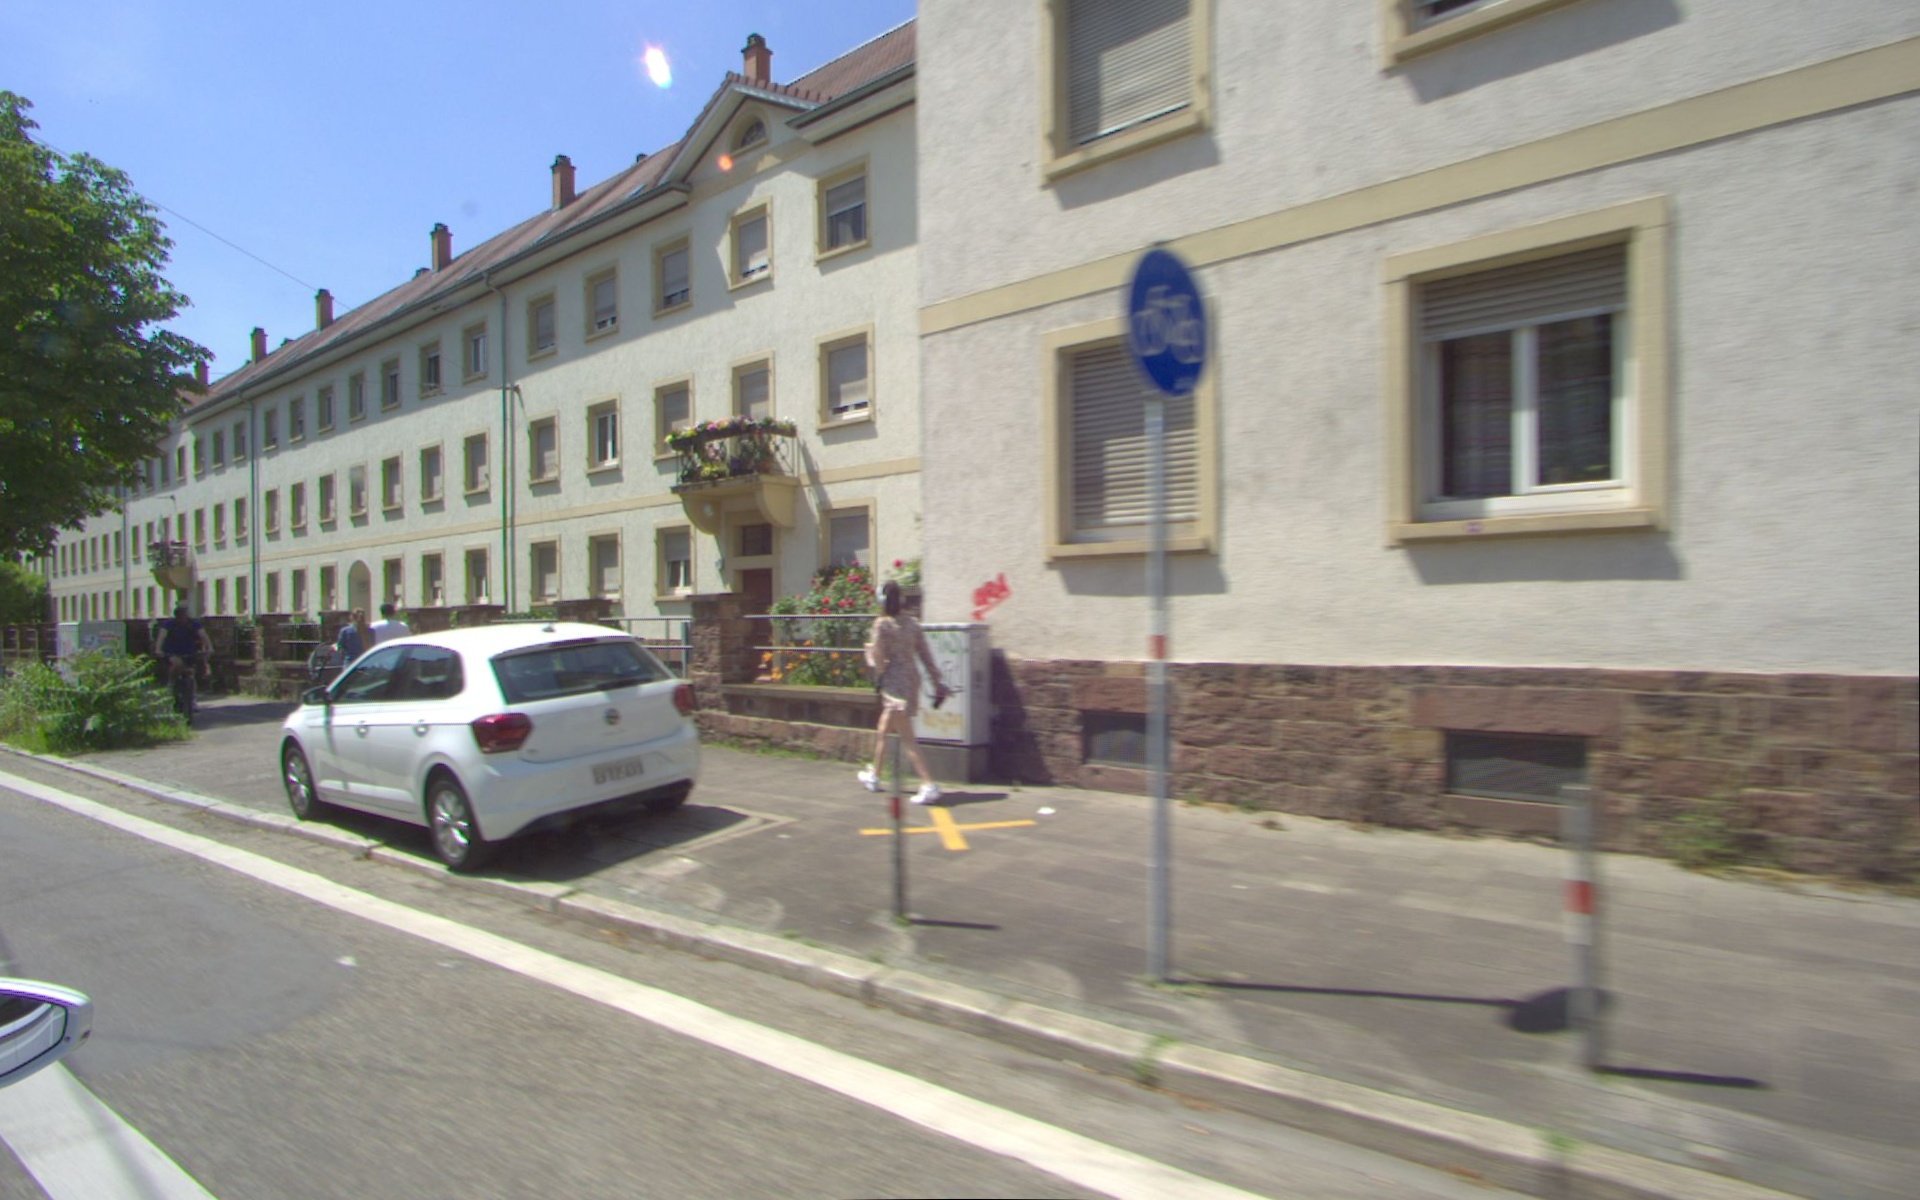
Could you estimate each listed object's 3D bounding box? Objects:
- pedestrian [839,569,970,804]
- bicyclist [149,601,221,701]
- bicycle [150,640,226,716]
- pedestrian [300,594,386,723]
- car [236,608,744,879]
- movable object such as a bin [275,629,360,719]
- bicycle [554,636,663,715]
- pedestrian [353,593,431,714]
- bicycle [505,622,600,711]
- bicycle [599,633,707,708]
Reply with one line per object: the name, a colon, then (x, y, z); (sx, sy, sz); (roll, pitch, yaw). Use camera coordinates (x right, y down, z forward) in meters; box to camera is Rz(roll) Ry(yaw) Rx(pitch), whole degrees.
pedestrian: (-0.423, 0.637, 7.731); (0.747, 1.691, 0.695); (0, -1, 37)
bicyclist: (-11.904, 0.767, 15.383); (0.999, 1.471, 0.707); (-1, -1, 41)
bicycle: (-11.812, 1.164, 15.303); (1.802, 1.064, 0.599); (-1, -1, 41)
pedestrian: (-8.494, 0.786, 13.792); (0.858, 1.692, 0.694); (0, 2, 38)
car: (-3.718, 0.857, 7.639); (4.104, 1.430, 1.769); (-1, 3, 38)
movable object such as a bin: (-9.231, 1.031, 14.388); (1.023, 1.202, 0.694); (-1, 2, 38)
bicycle: (-5.215, 1.087, 14.808); (1.839, 1.077, 0.525); (-1, 0, 34)
pedestrian: (-8.282, 0.755, 14.601); (0.747, 1.692, 0.694); (0, 2, 38)
bicycle: (-5.845, 0.917, 14.318); (1.734, 1.190, 0.593); (-1, 0, 43)
bicycle: (-4.764, 1.057, 15.491); (1.817, 1.077, 0.595); (-1, 0, 34)
